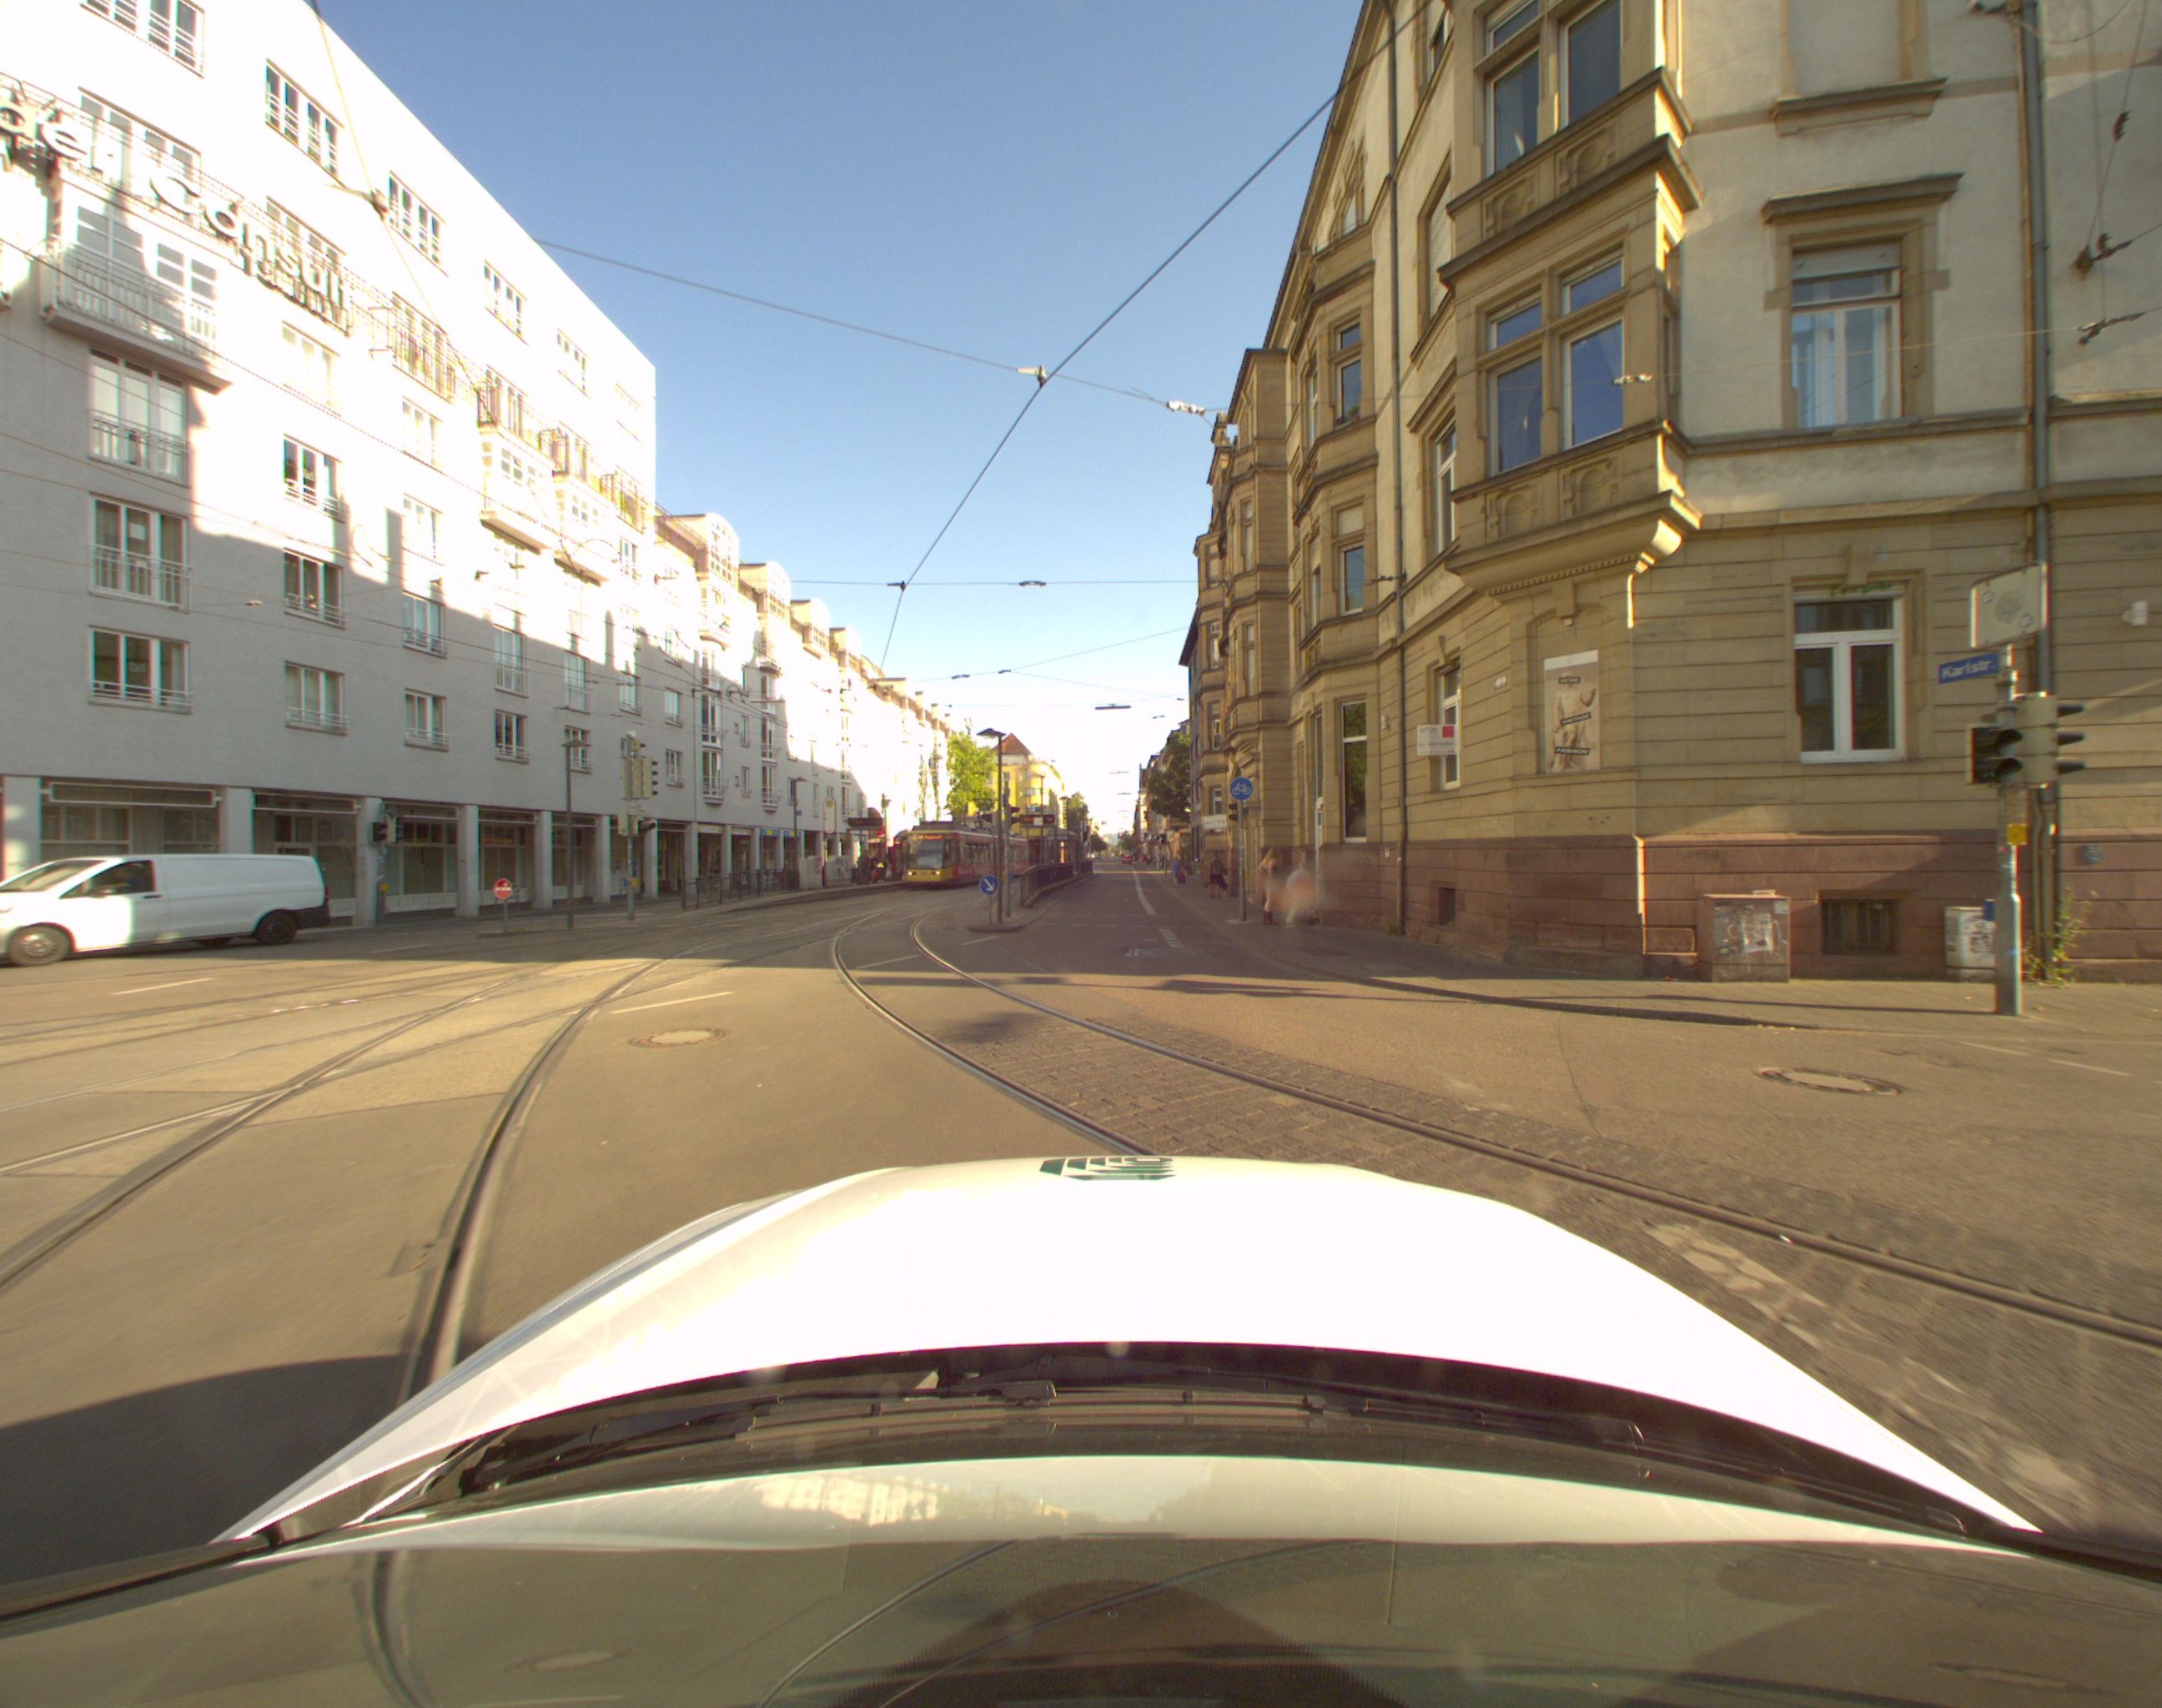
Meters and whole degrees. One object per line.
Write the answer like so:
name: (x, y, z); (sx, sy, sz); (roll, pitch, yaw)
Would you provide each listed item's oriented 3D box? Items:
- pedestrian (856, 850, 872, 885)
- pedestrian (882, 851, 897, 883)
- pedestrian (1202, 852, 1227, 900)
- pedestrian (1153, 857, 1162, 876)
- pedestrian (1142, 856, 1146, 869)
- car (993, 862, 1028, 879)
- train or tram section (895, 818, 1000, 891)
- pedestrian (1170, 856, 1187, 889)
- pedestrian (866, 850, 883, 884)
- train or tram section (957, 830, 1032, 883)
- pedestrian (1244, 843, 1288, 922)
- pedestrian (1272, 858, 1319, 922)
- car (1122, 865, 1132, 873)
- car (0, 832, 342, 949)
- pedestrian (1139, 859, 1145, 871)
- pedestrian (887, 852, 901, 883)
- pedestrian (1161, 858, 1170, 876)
pedestrian: (-10.540, 0.644, 39.553); (0.596, 1.692, 0.614); (0, -2, 3)
pedestrian: (-10.307, 0.725, 43.837); (0.698, 1.691, 0.667); (1, -2, -21)
pedestrian: (5.158, 0.849, 31.545); (0.797, 1.824, 0.798); (-2, -1, 2)
pedestrian: (7.208, 1.185, 76.520); (0.711, 1.775, 0.773); (-3, -1, -1)
pedestrian: (9.007, 1.207, 116.578); (0.556, 1.796, 0.652); (0, -2, 9)
car: (-10.952, 2.532, 126.003); (5.084, 2.576, 2.130); (1, -1, 3)
train or tram section: (-7.160, 0.178, 46.426); (2.873, 3.490, 14.178); (0, -1, 3)
pedestrian: (4.959, 0.950, 41.364); (0.759, 1.645, 0.833); (-2, -1, 2)
pedestrian: (-10.541, 0.667, 41.589); (0.756, 1.733, 0.523); (-2, -3, 44)
train or tram section: (-6.156, 0.313, 60.977); (2.872, 3.490, 14.967); (0, -1, 5)
pedestrian: (4.143, 0.636, 18.316); (0.791, 1.721, 0.719); (-1, -3, 1)
pedestrian: (4.608, 0.775, 17.533); (0.791, 1.331, 0.719); (-1, -3, 1)
car: (8.793, 2.808, 155.670); (1.985, 1.449, 4.002); (1, -1, 3)
car: (-17.570, 0.649, 15.221); (1.980, 1.838, 5.364); (-1, -2, 12)
pedestrian: (10.151, 1.846, 135.483); (0.840, 1.918, 0.661); (0, -2, 1)
pedestrian: (-10.466, 0.775, 45.588); (0.698, 1.691, 0.667); (1, -2, -21)
pedestrian: (7.948, 1.218, 76.819); (0.711, 1.603, 0.773); (-3, -1, -1)
